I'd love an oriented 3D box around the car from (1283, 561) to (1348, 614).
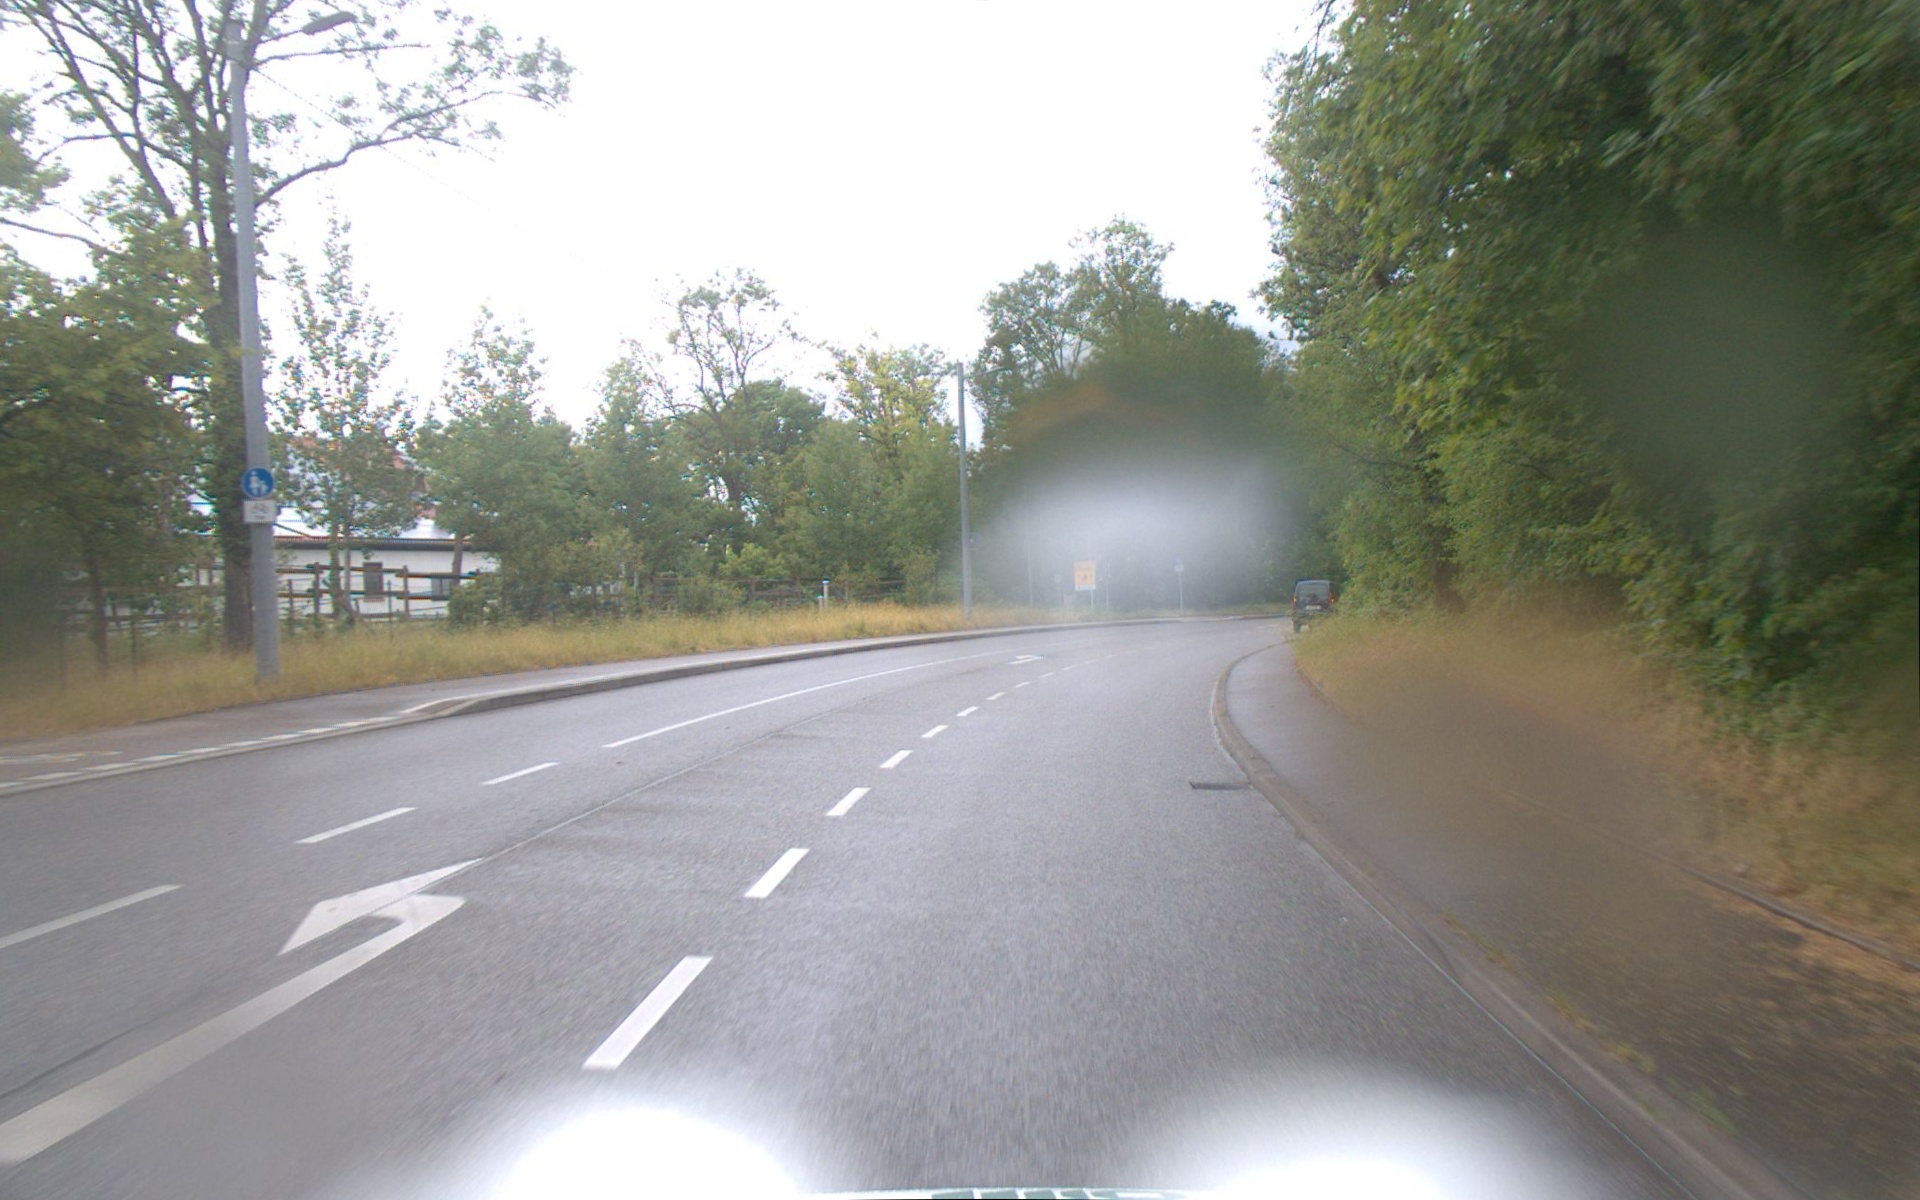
[{"bbox_3d":[13.078,-0.436,60.689,1.789,1.825,4.001,1,-1,20],"label":"car"}]
